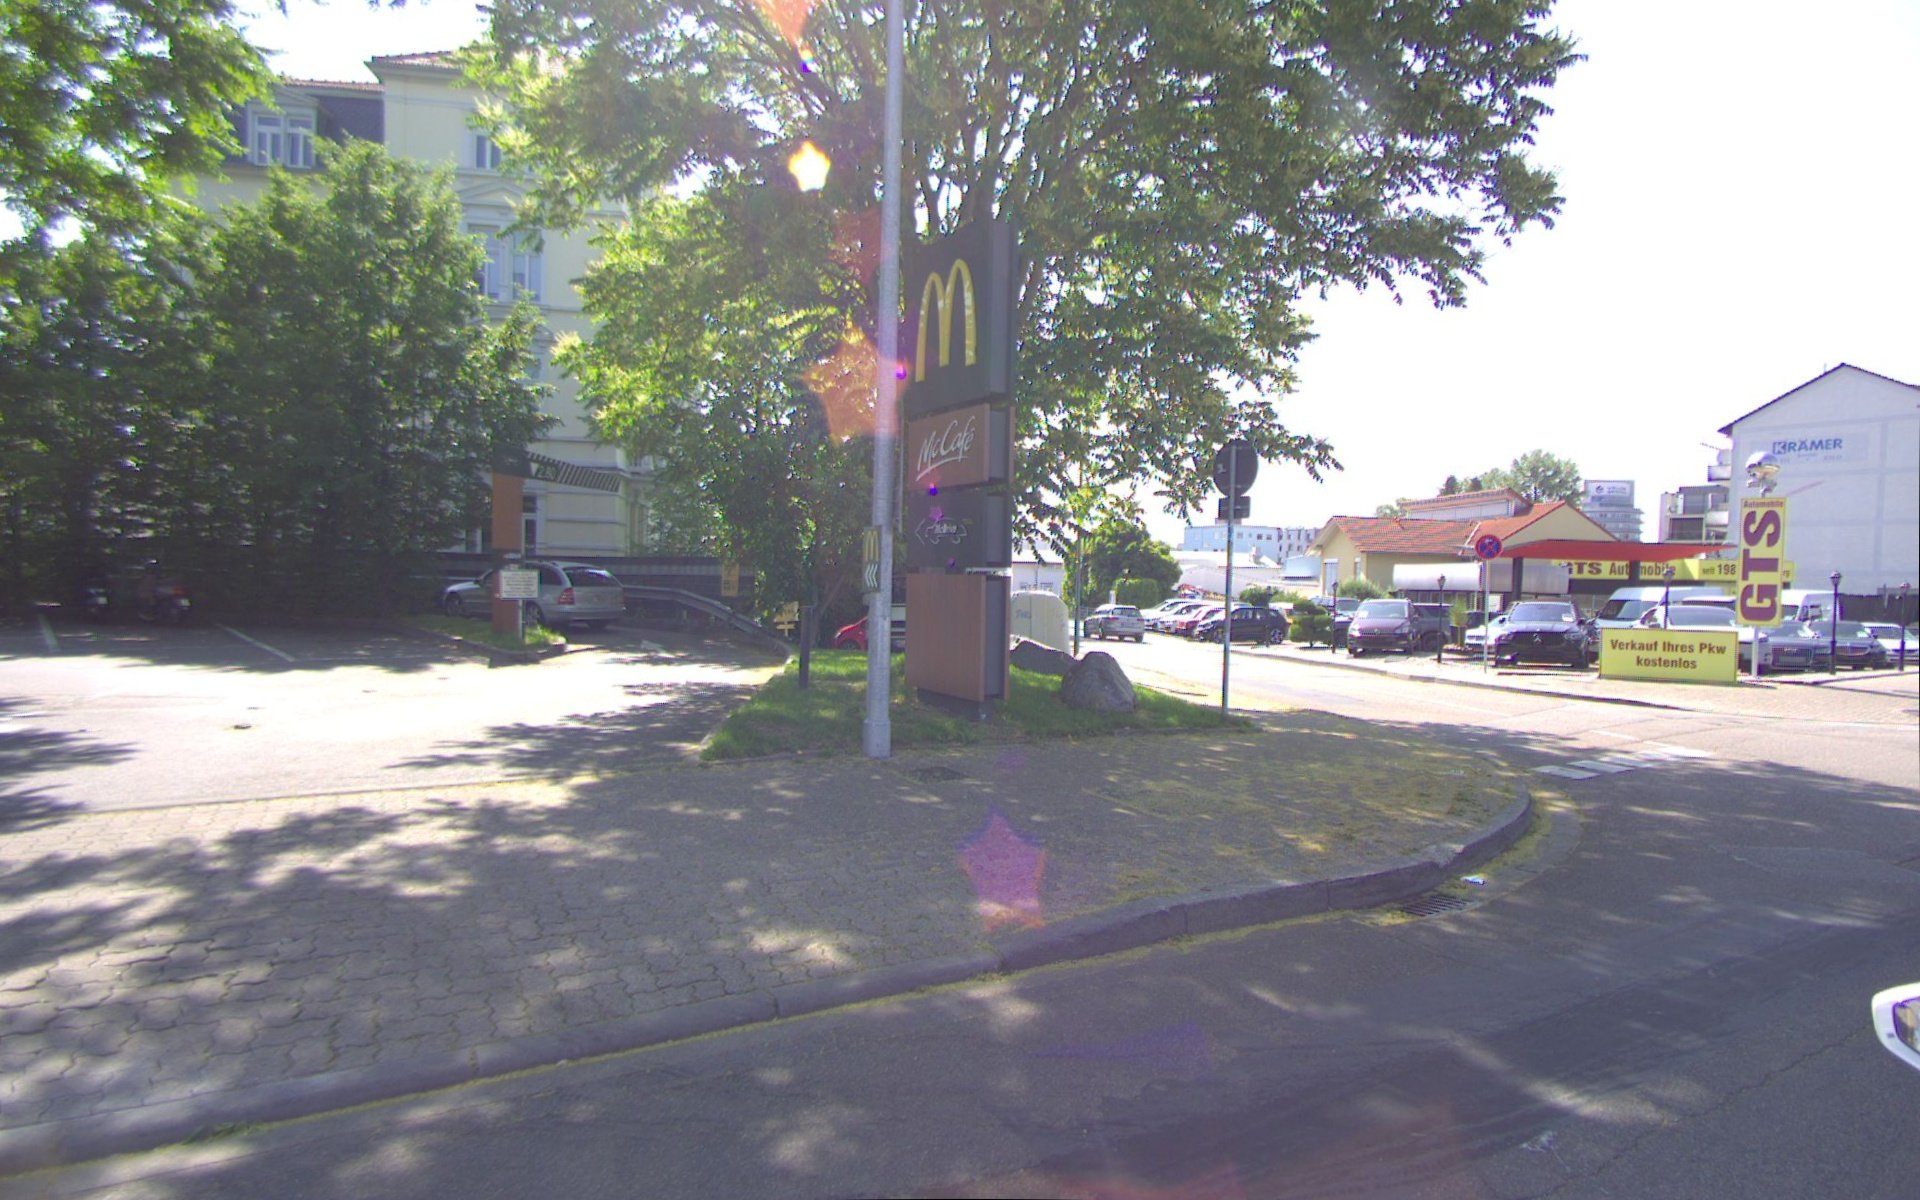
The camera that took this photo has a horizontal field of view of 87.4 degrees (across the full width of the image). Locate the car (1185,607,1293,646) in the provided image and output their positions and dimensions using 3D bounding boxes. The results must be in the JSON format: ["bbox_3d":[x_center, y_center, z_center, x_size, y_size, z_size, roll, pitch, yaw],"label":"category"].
[{"bbox_3d":[11.994,1.133,43.309,4.057,1.509,1.867,2,0,-9],"label":"car"}]

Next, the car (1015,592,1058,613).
[{"bbox_3d":[7.183,0.238,94.576,3.769,1.787,1.781,2,1,-6],"label":"car"}]

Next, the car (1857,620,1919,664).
[{"bbox_3d":[34.081,1.473,36.069,1.640,1.492,3.997,-1,-1,24],"label":"car"}]

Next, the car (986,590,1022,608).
[{"bbox_3d":[4.872,-0.146,111.584,3.769,1.787,1.781,2,1,-6],"label":"car"}]

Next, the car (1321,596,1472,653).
[{"bbox_3d":[15.780,0.868,36.650,4.794,1.867,2.163,2,0,17],"label":"car"}]

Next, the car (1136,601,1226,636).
[{"bbox_3d":[11.275,0.940,51.302,4.050,1.624,1.867,2,0,-9],"label":"car"}]

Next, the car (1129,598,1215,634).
[{"bbox_3d":[11.317,0.847,53.845,4.096,1.773,1.889,2,0,-9],"label":"car"}]

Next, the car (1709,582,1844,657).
[{"bbox_3d":[30.453,0.757,37.416,5.662,2.462,2.231,3,3,-35],"label":"car"}]

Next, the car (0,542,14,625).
[{"bbox_3d":[-17.624,-0.321,17.242,1.756,1.406,4.047,1,2,-40],"label":"car"}]

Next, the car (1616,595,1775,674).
[{"bbox_3d":[17.974,0.887,24.819,1.943,1.729,4.665,1,-3,20],"label":"car"}]

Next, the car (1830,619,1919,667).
[{"bbox_3d":[30.879,1.410,33.660,1.753,1.492,3.994,-1,-2,29],"label":"car"}]

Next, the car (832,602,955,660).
[{"bbox_3d":[-1.854,0.849,28.343,3.341,1.485,1.693,-1,0,-3],"label":"car"}]

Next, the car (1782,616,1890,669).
[{"bbox_3d":[26.450,1.253,30.457,1.810,1.492,3.991,-1,-1,31],"label":"car"}]

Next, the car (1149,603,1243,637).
[{"bbox_3d":[11.427,0.979,48.736,4.044,1.509,1.867,2,0,-9],"label":"car"}]

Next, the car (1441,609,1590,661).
[{"bbox_3d":[18.594,1.164,33.639,4.619,1.596,1.904,1,1,-23],"label":"car"}]

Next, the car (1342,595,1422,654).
[{"bbox_3d":[13.007,0.715,30.840,1.778,1.678,4.307,1,0,29],"label":"car"}]

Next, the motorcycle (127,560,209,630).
[{"bbox_3d":[-14.467,-0.116,18.328,2.147,1.147,0.568,4,2,35],"label":"motorcycle"}]

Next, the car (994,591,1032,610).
[{"bbox_3d":[5.600,0.036,106.337,3.769,1.787,1.781,2,1,-6],"label":"car"}]

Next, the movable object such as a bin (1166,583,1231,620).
[{"bbox_3d":[19.559,0.127,82.523,4.740,2.945,1.999,2,0,-3],"label":"movable object such as a bin"}]

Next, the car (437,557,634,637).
[{"bbox_3d":[-8.960,-0.134,21.087,4.311,1.423,1.709,3,4,33],"label":"car"}]

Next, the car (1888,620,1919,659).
[{"bbox_3d":[37.795,1.508,38.910,1.641,1.492,3.995,0,-1,27],"label":"car"}]

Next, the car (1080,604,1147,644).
[{"bbox_3d":[6.449,0.974,42.667,1.651,1.513,4.601,1,0,-6],"label":"car"}]

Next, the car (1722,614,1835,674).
[{"bbox_3d":[22.119,1.143,27.289,1.810,1.492,3.991,-1,-2,31],"label":"car"}]

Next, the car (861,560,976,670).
[{"bbox_3d":[-0.716,0.360,20.272,1.855,1.945,4.527,-1,-2,3],"label":"car"}]

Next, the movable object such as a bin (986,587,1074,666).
[{"bbox_3d":[1.420,0.541,20.864,1.429,1.547,1.773,-1,-1,-10],"label":"movable object such as a bin"}]

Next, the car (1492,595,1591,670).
[{"bbox_3d":[15.079,0.847,25.951,2.014,1.730,4.305,1,-1,32],"label":"car"}]

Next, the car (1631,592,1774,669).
[{"bbox_3d":[25.157,1.042,34.014,4.769,2.381,2.234,3,0,-31],"label":"car"}]

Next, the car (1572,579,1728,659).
[{"bbox_3d":[25.937,0.745,37.712,6.077,2.794,2.267,2,0,-29],"label":"car"}]

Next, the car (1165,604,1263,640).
[{"bbox_3d":[11.691,1.019,46.346,3.985,1.509,1.796,2,0,-9],"label":"car"}]

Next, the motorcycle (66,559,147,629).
[{"bbox_3d":[-15.344,-0.119,18.038,2.147,1.131,0.568,4,2,35],"label":"motorcycle"}]

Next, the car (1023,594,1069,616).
[{"bbox_3d":[7.610,0.423,88.828,3.769,1.787,1.854,2,1,-6],"label":"car"}]
